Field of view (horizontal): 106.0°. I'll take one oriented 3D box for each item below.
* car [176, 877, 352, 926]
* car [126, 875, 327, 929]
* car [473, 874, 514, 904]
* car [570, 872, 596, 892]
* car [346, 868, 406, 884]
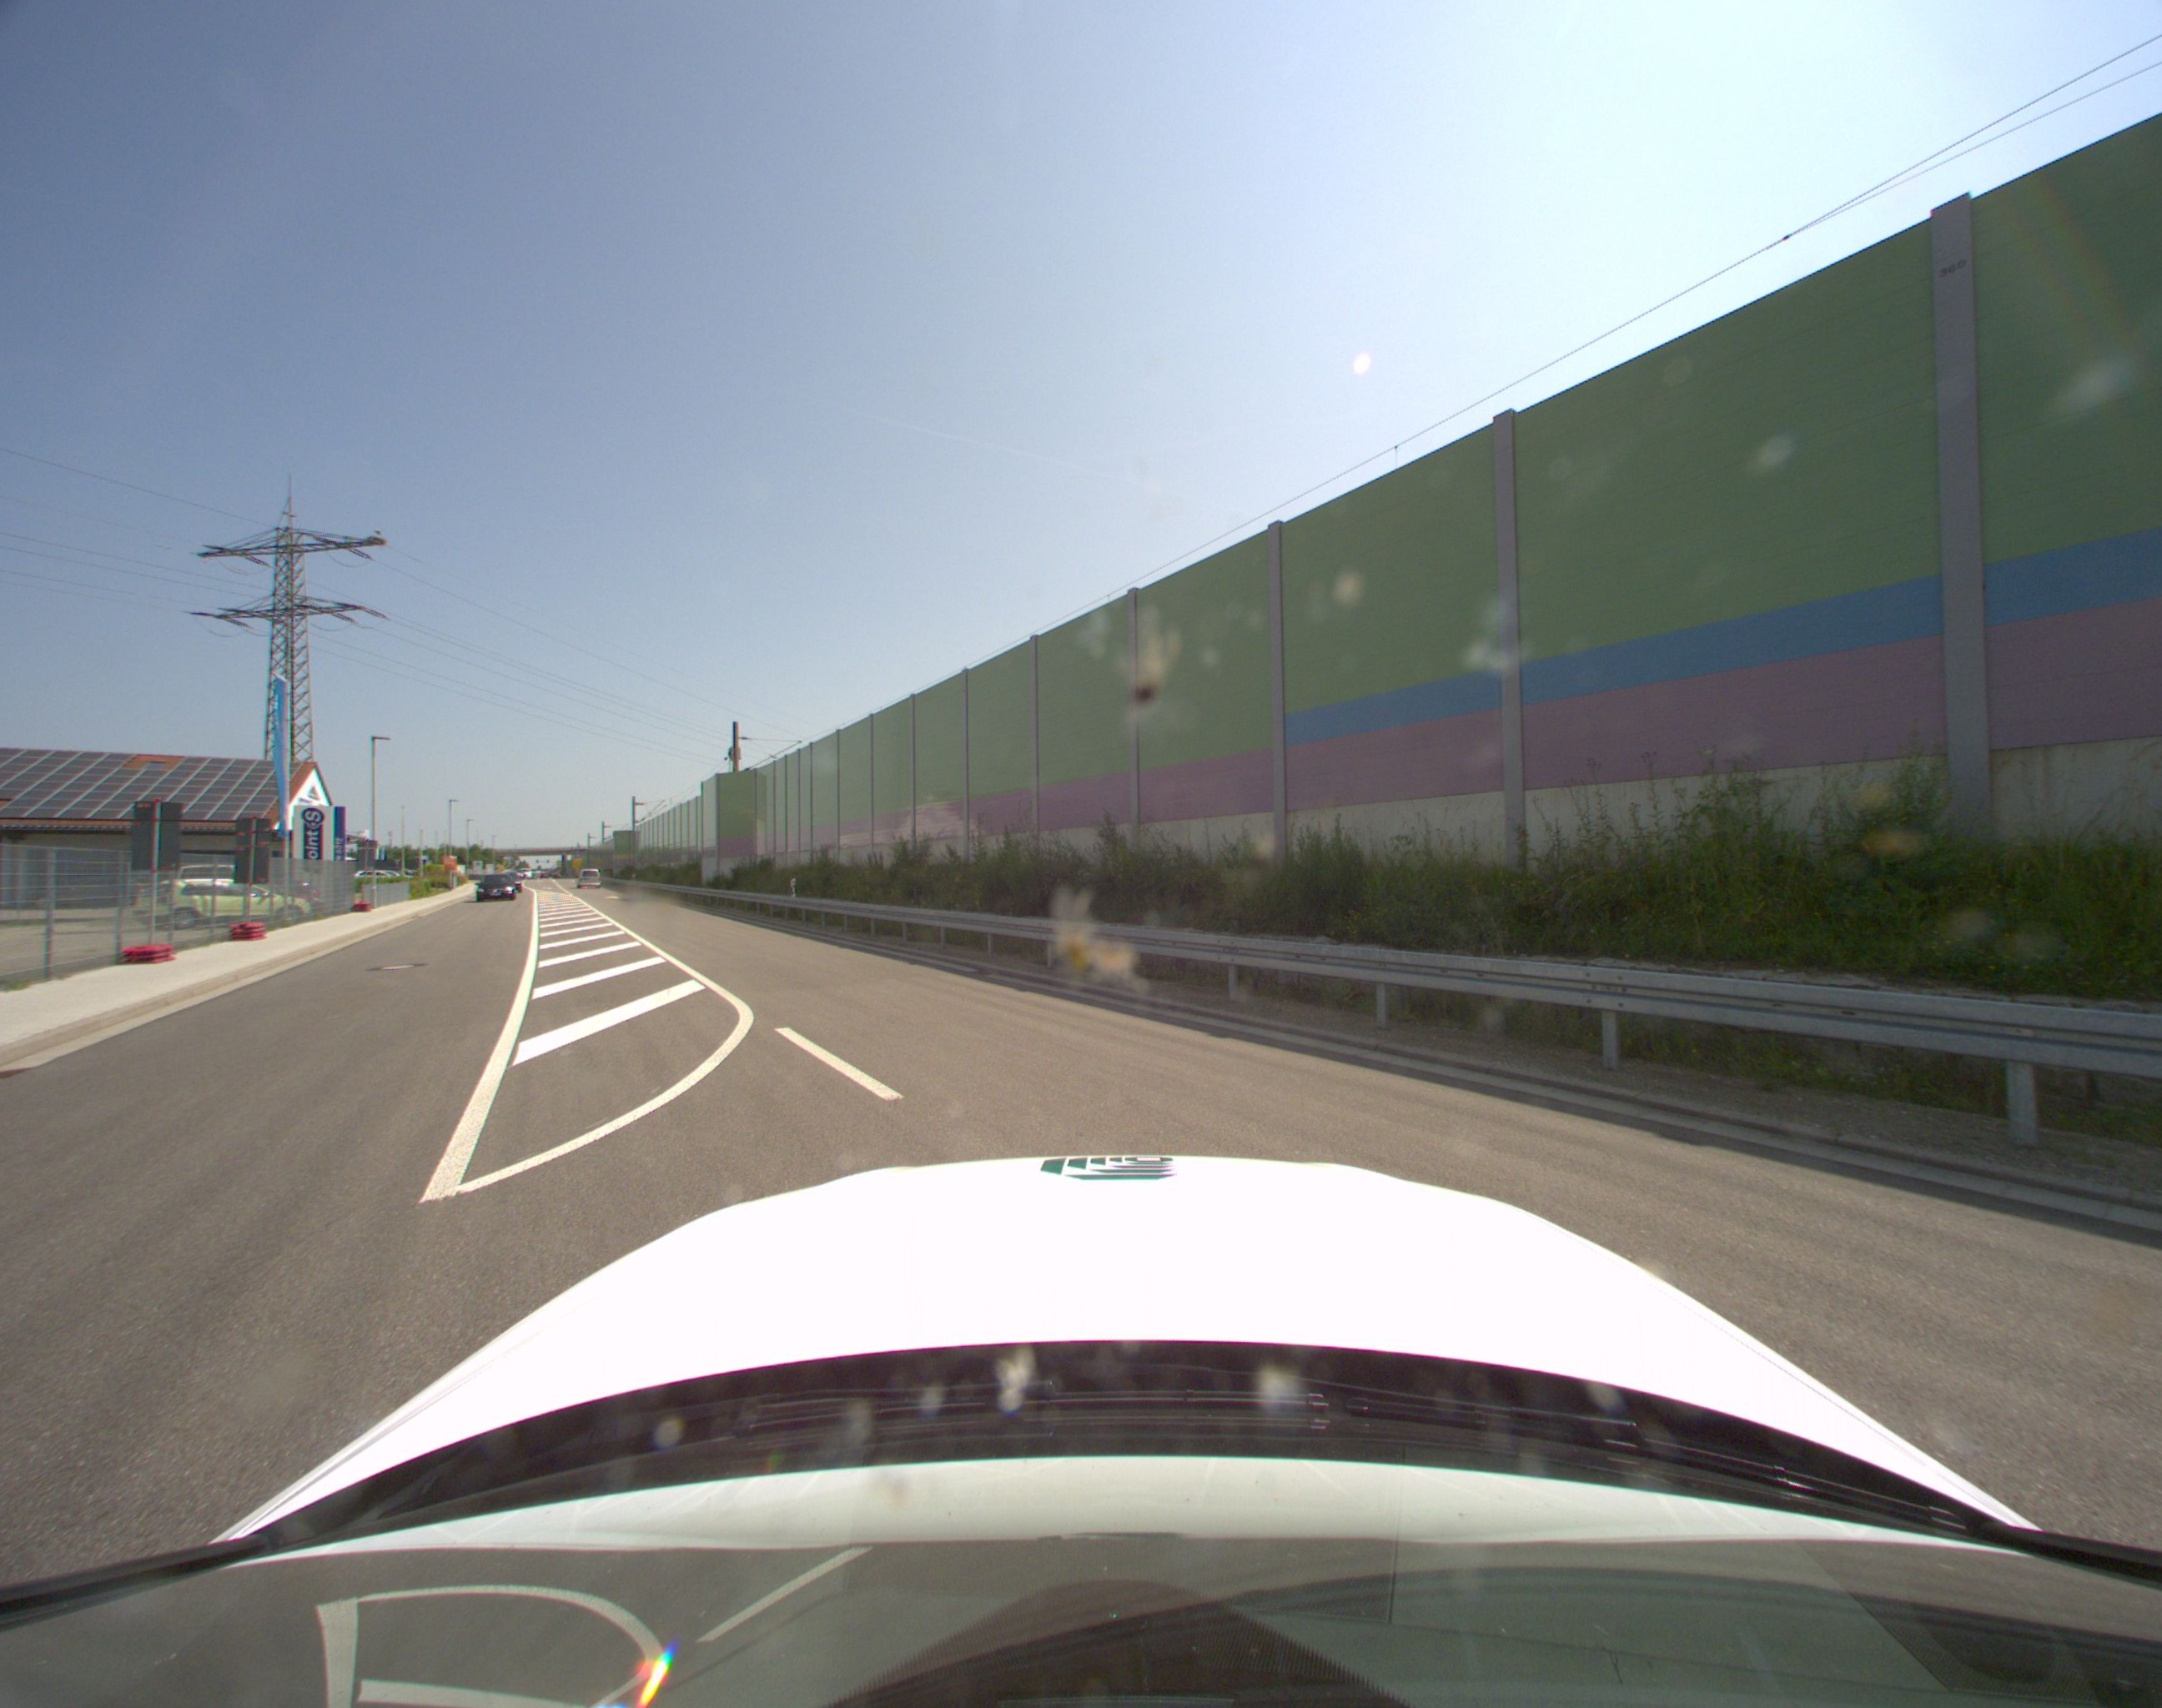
[{"bbox_3d":[-28.685,1.618,28.766,1.722,1.493,4.022,-1,-1,24],"label":"car"},{"bbox_3d":[-27.304,1.490,26.214,1.723,1.493,4.114,-1,-1,21],"label":"car"},{"bbox_3d":[-34.158,2.010,47.407,1.754,1.593,3.756,-3,1,-34],"label":"car"},{"bbox_3d":[-46.362,2.545,75.791,2.007,1.757,3.959,-1,-1,-32],"label":"car"},{"bbox_3d":[-68.581,2.170,79.323,4.255,1.456,1.745,2,-3,-36],"label":"car"}]
